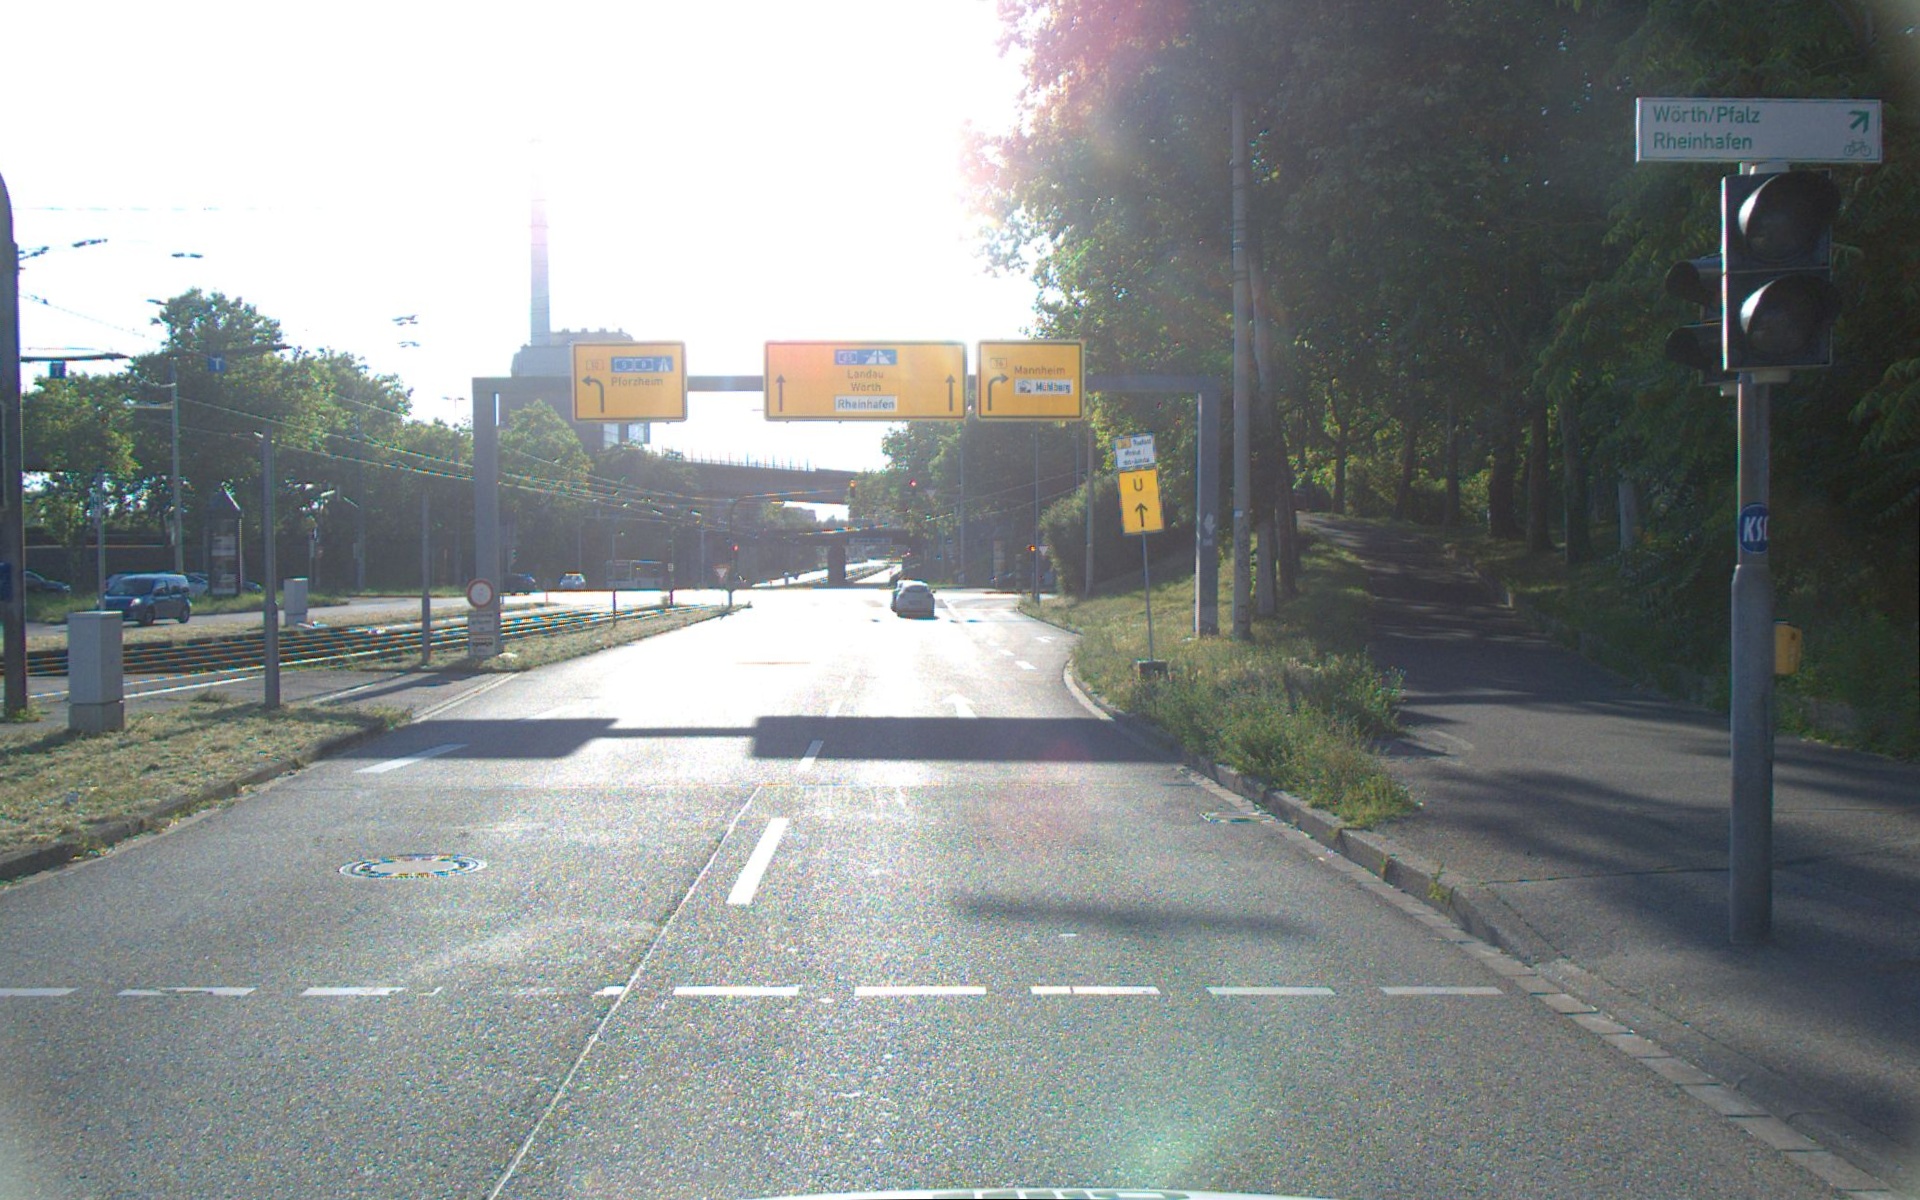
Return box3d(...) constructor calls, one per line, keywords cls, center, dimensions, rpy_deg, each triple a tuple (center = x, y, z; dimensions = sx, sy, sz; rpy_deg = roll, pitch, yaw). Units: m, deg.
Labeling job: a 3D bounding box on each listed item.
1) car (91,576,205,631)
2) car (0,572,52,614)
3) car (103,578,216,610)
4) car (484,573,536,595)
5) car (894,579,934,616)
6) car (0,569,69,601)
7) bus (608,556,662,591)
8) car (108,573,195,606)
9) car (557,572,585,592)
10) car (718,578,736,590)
box3d(cls="car", center=(-28.891, 0.085, 59.014), dimensions=(1.893, 1.818, 4.260), rpy_deg=(0, 1, 0))
box3d(cls="car", center=(-46.631, -0.339, 79.775), dimensions=(4.880, 2.025, 2.015), rpy_deg=(0, 1, -32))
box3d(cls="car", center=(-41.998, -0.318, 86.900), dimensions=(5.282, 1.602, 1.727), rpy_deg=(0, 1, -26))
box3d(cls="car", center=(-31.676, -1.135, 116.344), dimensions=(3.931, 1.531, 1.731), rpy_deg=(1, 2, 43))
box3d(cls="car", center=(-2.088, -0.123, 74.162), dimensions=(1.702, 1.531, 3.998), rpy_deg=(-1, 2, -3))
box3d(cls="car", center=(-47.509, -0.758, 83.791), dimensions=(4.188, 1.602, 1.678), rpy_deg=(0, 1, -29))
box3d(cls="bus", center=(-31.617, -2.489, 161.311), dimensions=(2.491, 3.184, 12.918), rpy_deg=(-1, 0, 1))
box3d(cls="car", center=(-40.939, -0.534, 83.773), dimensions=(3.941, 1.602, 1.678), rpy_deg=(0, 1, -28))
box3d(cls="car", center=(-32.174, -1.490, 136.964), dimensions=(1.575, 1.538, 4.006), rpy_deg=(1, 1, -4))
box3d(cls="car", center=(-28.558, -1.950, 202.562), dimensions=(1.574, 1.443, 4.008), rpy_deg=(1, 1, 0))
